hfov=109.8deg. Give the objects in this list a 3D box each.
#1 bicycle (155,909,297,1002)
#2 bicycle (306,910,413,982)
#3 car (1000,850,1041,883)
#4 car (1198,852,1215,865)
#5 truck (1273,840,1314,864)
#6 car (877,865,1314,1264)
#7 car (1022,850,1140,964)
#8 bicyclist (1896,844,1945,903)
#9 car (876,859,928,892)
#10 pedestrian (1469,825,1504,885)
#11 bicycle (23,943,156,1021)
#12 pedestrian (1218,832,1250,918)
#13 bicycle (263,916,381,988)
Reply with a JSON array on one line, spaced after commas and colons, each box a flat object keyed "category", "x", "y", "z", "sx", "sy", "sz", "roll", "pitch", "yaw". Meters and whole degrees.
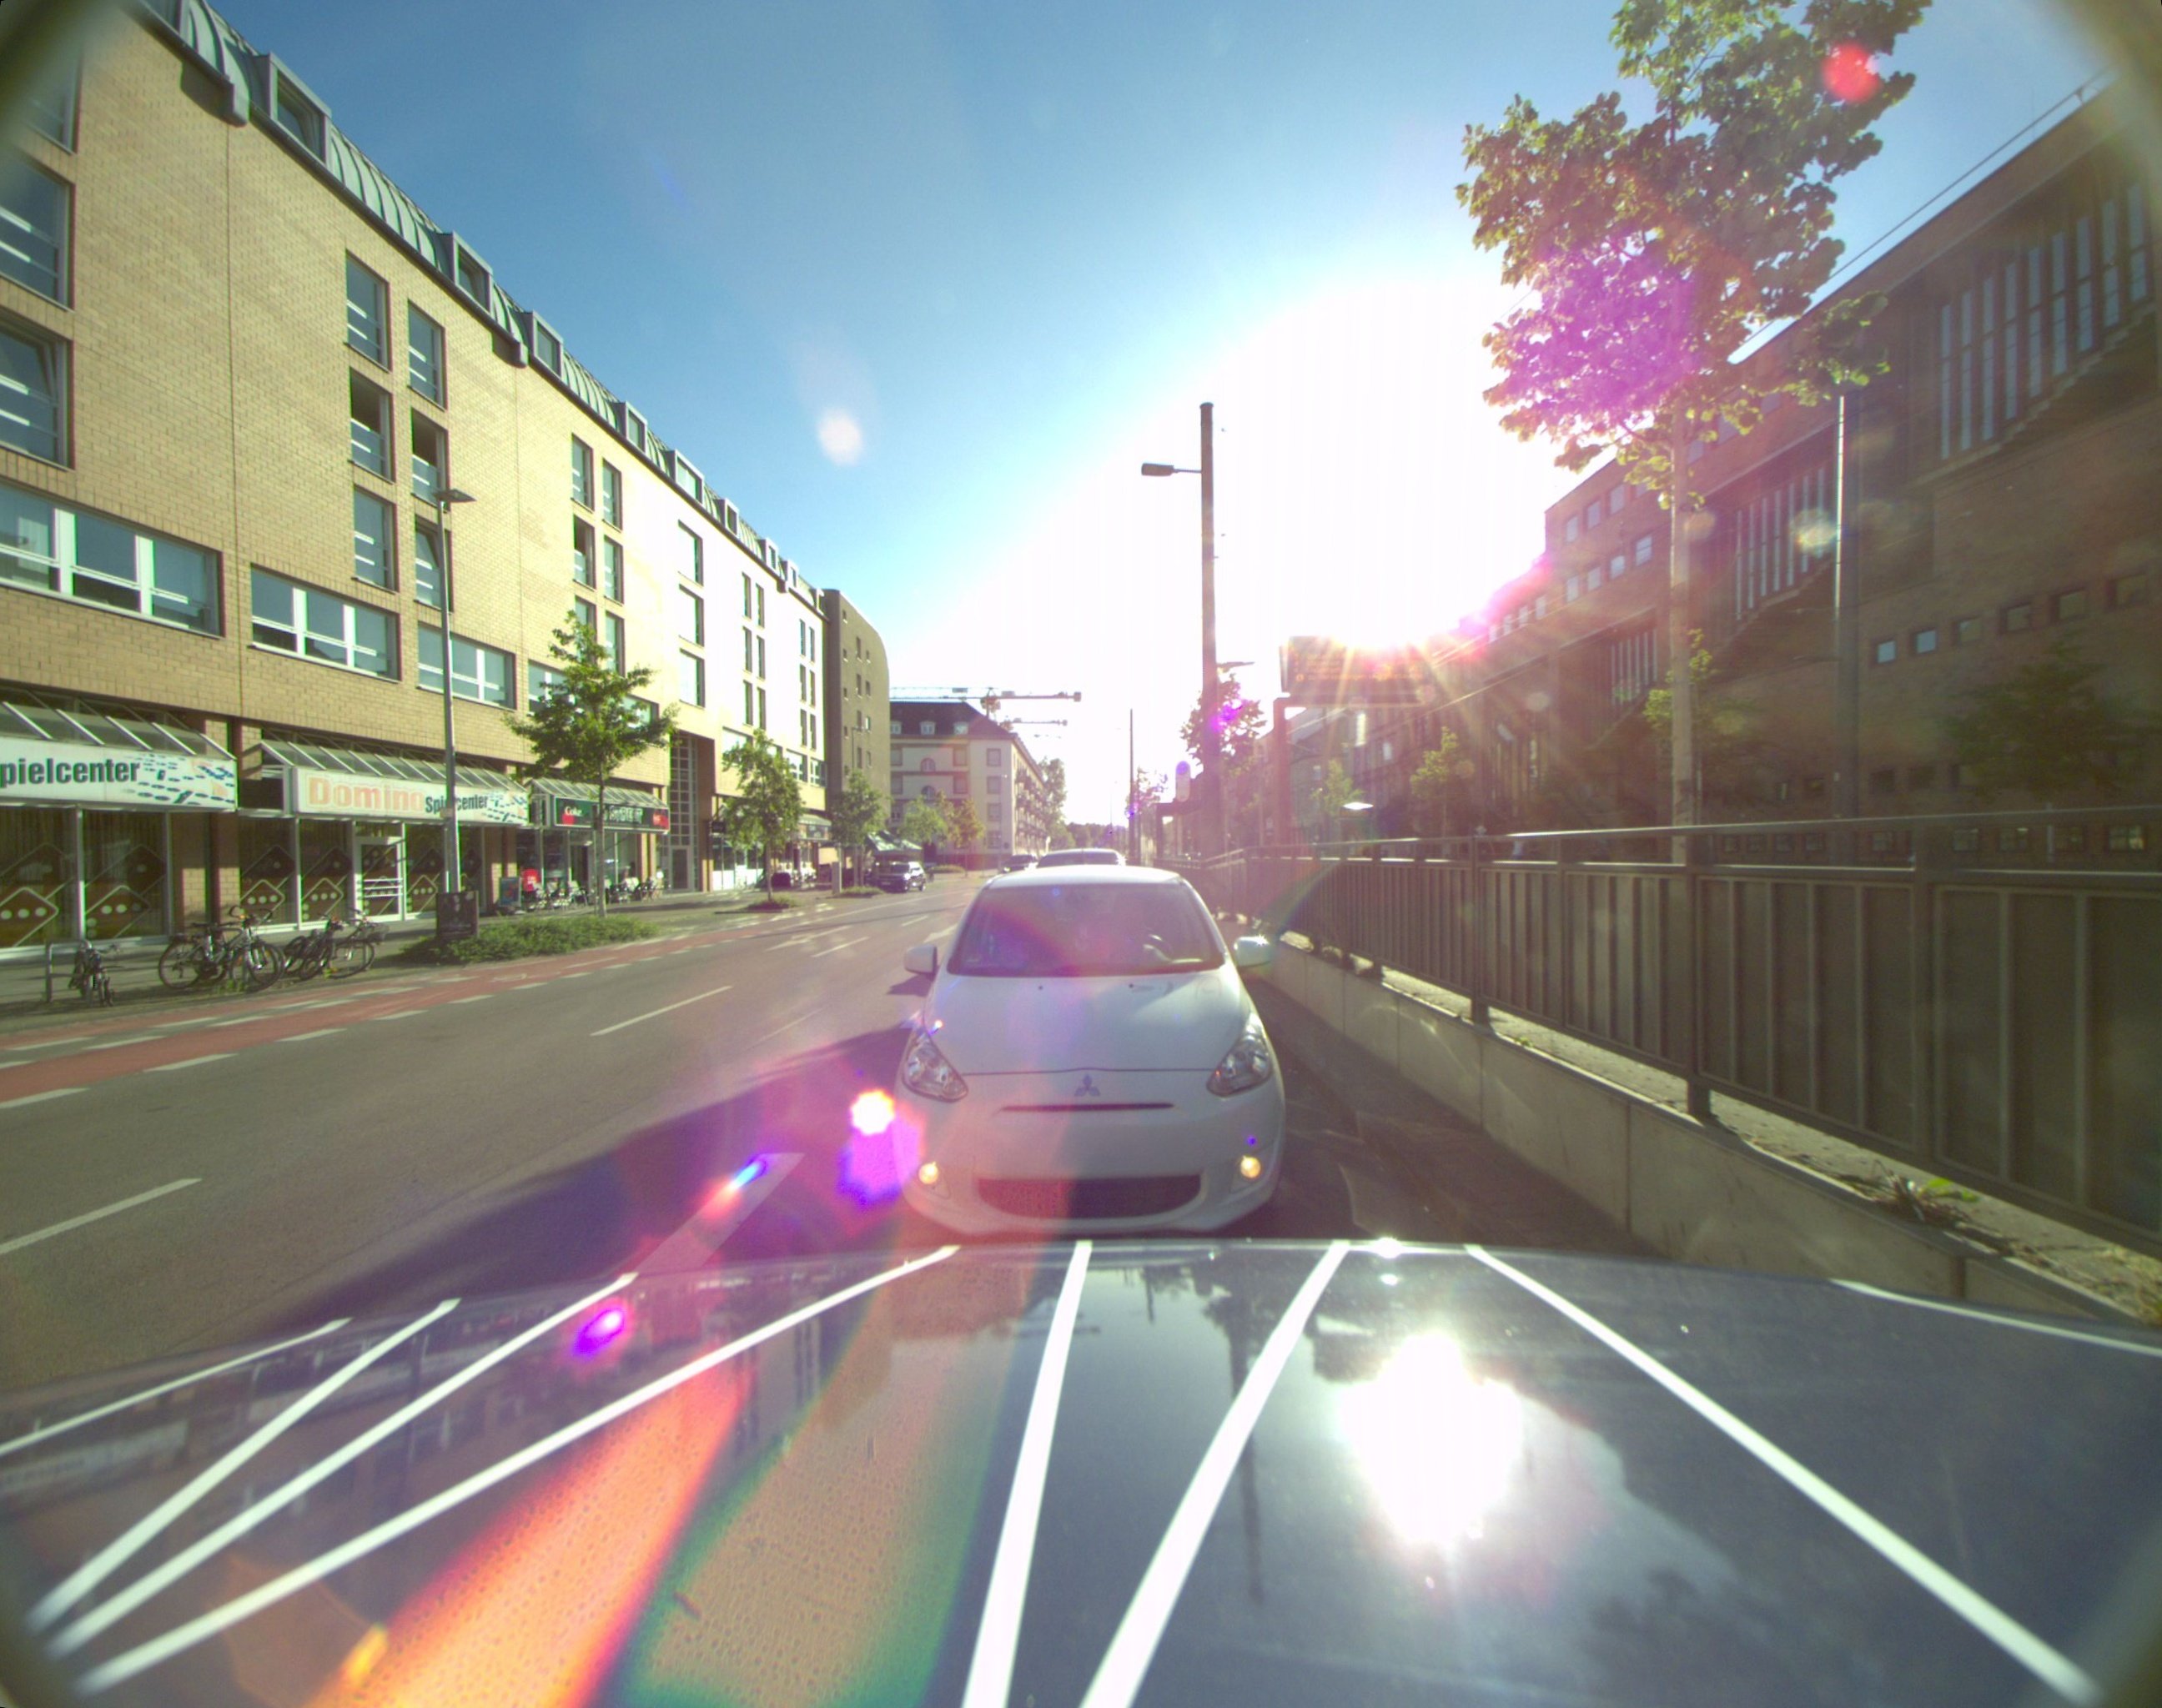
[{"category": "bicycle", "x": -12.311, "y": 1.429, "z": 10.945, "sx": 1.835, "sy": 1.156, "sz": 0.565, "roll": 1, "pitch": 2, "yaw": 15}, {"category": "bicycle", "x": -11.881, "y": 1.497, "z": 12.503, "sx": 1.835, "sy": 1.050, "sz": 0.350, "roll": 1, "pitch": 2, "yaw": 15}, {"category": "car", "x": -3.808, "y": 0.729, "z": 48.496, "sx": 2.164, "sy": 1.904, "sz": 4.472, "roll": -2, "pitch": 0, "yaw": 0}, {"category": "car", "x": 16.975, "y": 0.635, "z": 103.148, "sx": 1.655, "sy": 1.617, "sz": 3.447, "roll": -2, "pitch": 1, "yaw": 0}, {"category": "truck", "x": 17.863, "y": -0.140, "z": 64.085, "sx": 1.999, "sy": 1.868, "sz": 5.155, "roll": 1, "pitch": 0, "yaw": 0}, {"category": "car", "x": 0.060, "y": 0.890, "z": 5.199, "sx": 1.720, "sy": 1.422, "sz": 4.215, "roll": -2, "pitch": 1, "yaw": 0}, {"category": "car", "x": -0.002, "y": 0.794, "z": 13.562, "sx": 1.720, "sy": 1.591, "sz": 4.215, "roll": -2, "pitch": 1, "yaw": 0}, {"category": "bicyclist", "x": 22.491, "y": 0.502, "z": 20.356, "sx": 0.588, "sy": 1.525, "sz": 0.650, "roll": -2, "pitch": 2, "yaw": 1}, {"category": "car", "x": -9.738, "y": 1.144, "z": 41.577, "sx": 1.779, "sy": 1.630, "sz": 4.000, "roll": -1, "pitch": 0, "yaw": 1}, {"category": "pedestrian", "x": 12.549, "y": 0.031, "z": 23.554, "sx": 0.685, "sy": 1.797, "sz": 0.668, "roll": -2, "pitch": 2, "yaw": 0}, {"category": "bicycle", "x": -12.732, "y": 1.625, "z": 9.754, "sx": 1.772, "sy": 0.827, "sz": 0.366, "roll": 1, "pitch": 2, "yaw": 15}, {"category": "pedestrian", "x": 4.450, "y": 0.597, "z": 22.131, "sx": 0.684, "sy": 2.428, "sz": 0.626, "roll": -2, "pitch": 2, "yaw": -2}, {"category": "bicycle", "x": -12.016, "y": 1.534, "z": 12.033, "sx": 1.835, "sy": 0.980, "sz": 0.449, "roll": 1, "pitch": 2, "yaw": 15}]
